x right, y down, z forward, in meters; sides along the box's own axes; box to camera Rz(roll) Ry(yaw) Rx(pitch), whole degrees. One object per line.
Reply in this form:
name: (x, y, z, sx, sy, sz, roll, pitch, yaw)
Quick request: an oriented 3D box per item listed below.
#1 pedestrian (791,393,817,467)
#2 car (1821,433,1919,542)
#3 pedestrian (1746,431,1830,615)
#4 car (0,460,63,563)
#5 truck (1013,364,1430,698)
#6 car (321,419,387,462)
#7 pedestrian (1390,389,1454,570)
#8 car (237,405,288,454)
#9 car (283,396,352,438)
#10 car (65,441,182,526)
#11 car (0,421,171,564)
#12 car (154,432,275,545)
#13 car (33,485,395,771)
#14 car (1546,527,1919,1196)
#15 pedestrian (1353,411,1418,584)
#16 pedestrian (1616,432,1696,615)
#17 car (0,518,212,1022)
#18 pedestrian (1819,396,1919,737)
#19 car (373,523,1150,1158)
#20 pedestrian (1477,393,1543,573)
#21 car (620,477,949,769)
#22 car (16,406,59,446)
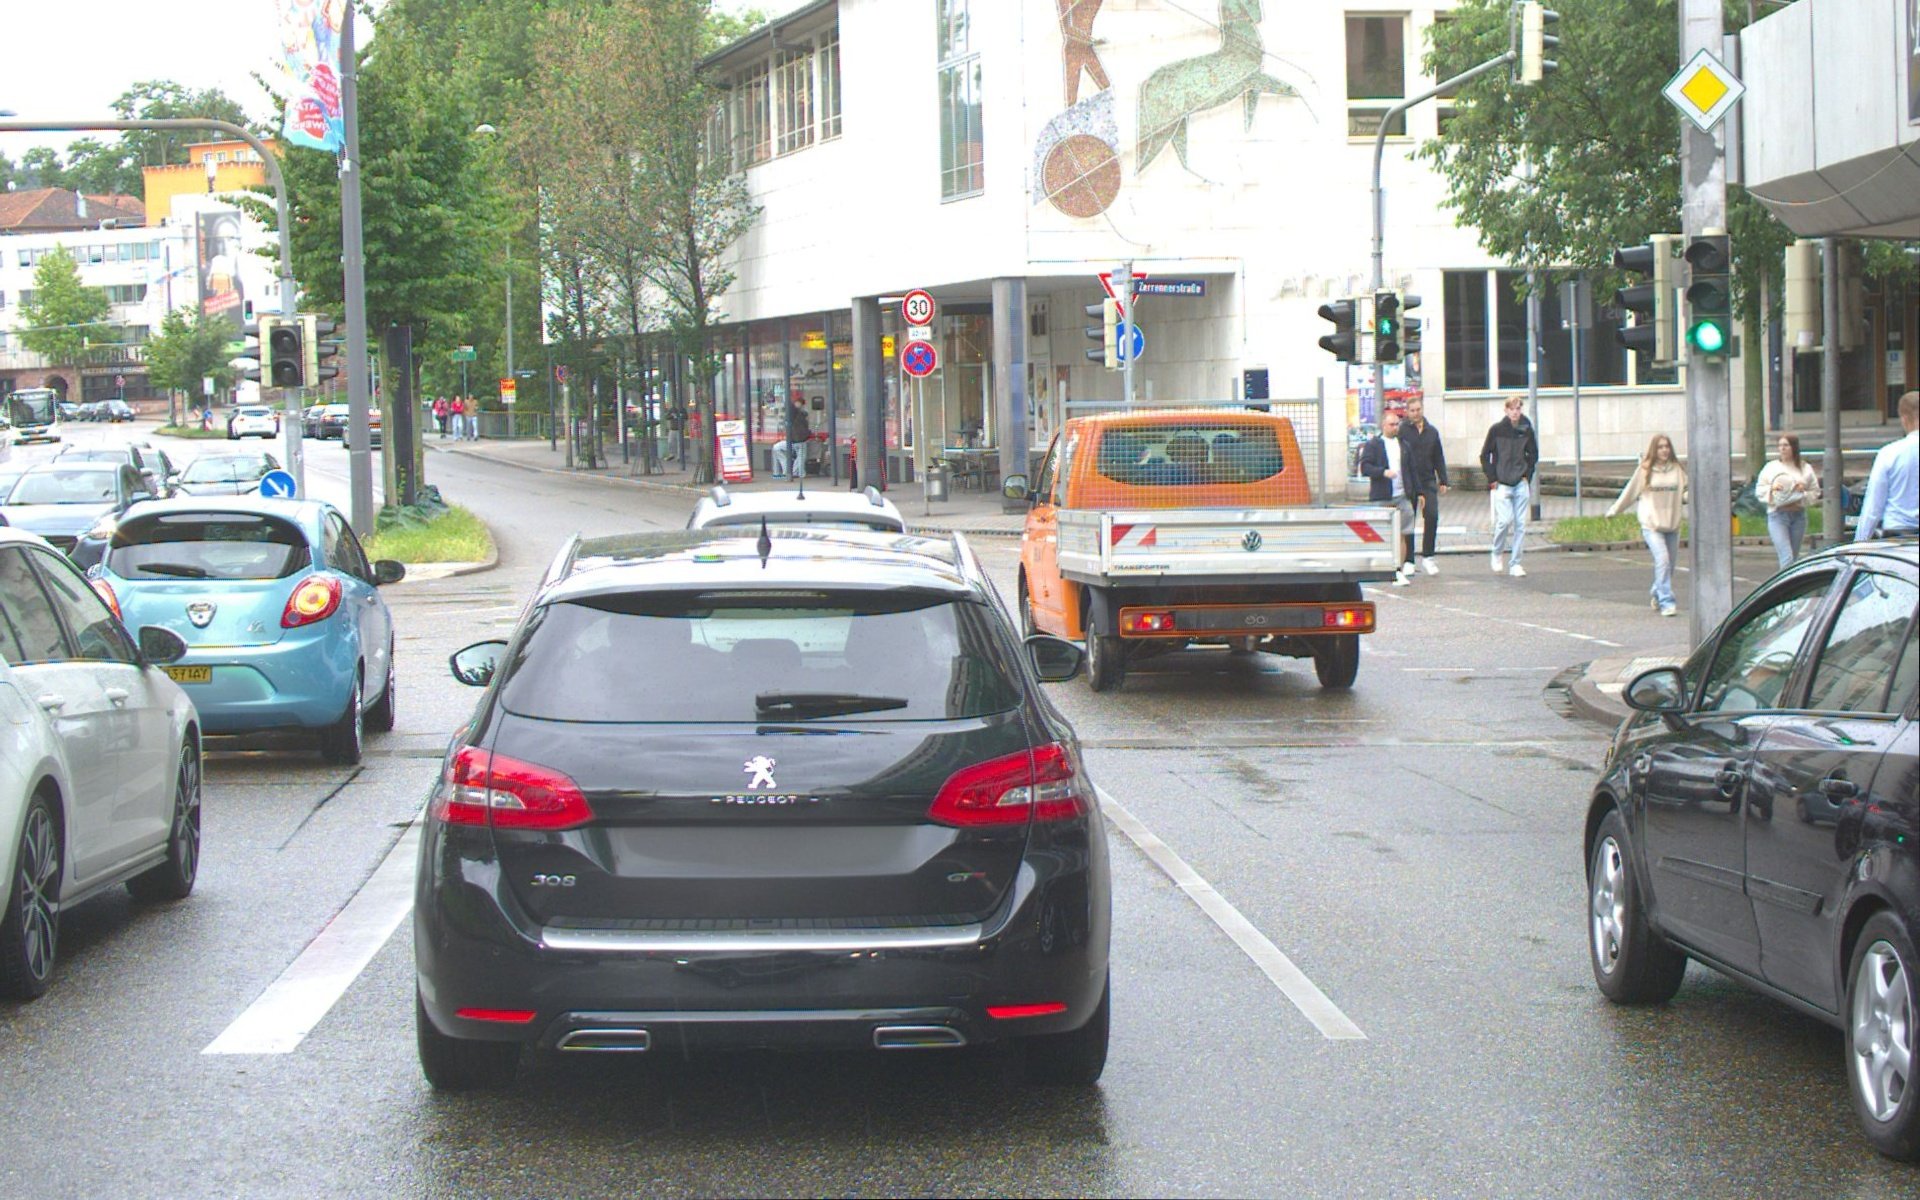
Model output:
pedestrian: (-3.755, -4.079, 82.591, 0.468, 1.742, 0.541, 1, 0, -21)
car: (12.113, -1.299, 40.227, 3.688, 1.208, 1.835, 1, 0, 4)
pedestrian: (7.517, -0.693, 31.213, 0.637, 1.653, 0.733, 0, 0, 6)
car: (-14.470, -1.345, 51.260, 1.632, 1.481, 3.610, 0, 2, -7)
truck: (1.751, -0.550, 24.946, 2.176, 2.165, 5.022, 0, 2, -5)
car: (-22.201, -5.862, 125.920, 1.787, 1.449, 4.508, -4, 4, -17)
pedestrian: (4.914, -1.275, 36.615, 0.637, 1.891, 0.733, 0, 0, 6)
car: (-30.041, -7.324, 147.997, 1.705, 1.875, 4.001, 1, 0, -18)
car: (-26.581, -7.537, 142.174, 1.724, 1.485, 4.734, 1, 0, -24)
car: (-15.239, -2.141, 62.768, 1.632, 1.481, 3.610, 0, 2, -7)
car: (-10.644, -1.243, 41.044, 1.744, 1.574, 4.000, 1, 0, -4)
car: (-11.670, -1.710, 54.008, 1.744, 1.634, 4.001, 1, 0, -11)
car: (-4.243, 0.092, 20.002, 1.632, 1.481, 3.610, 0, 2, -5)
car: (2.811, 0.543, 9.164, 1.616, 1.424, 3.843, 0, 2, -3)
pedestrian: (4.361, -1.040, 35.276, 0.637, 1.752, 0.733, 0, 0, 6)
pedestrian: (6.336, -0.690, 31.336, 0.637, 1.653, 0.733, 0, 0, 6)
car: (-3.732, 0.454, 11.482, 1.777, 1.424, 3.843, 0, 2, -2)
pedestrian: (5.404, -0.186, 19.799, 0.736, 1.928, 0.640, 1, 0, -1)
car: (-0.548, 0.517, 9.843, 1.777, 1.424, 3.843, 0, 2, -3)
pedestrian: (5.852, -1.236, 36.576, 0.637, 1.891, 0.733, 0, 0, 6)
car: (-0.936, 0.054, 19.713, 1.696, 1.481, 3.794, 1, 2, -1)
car: (-51.676, -9.738, 192.537, 1.993, 2.007, 4.001, 1, 0, -20)
